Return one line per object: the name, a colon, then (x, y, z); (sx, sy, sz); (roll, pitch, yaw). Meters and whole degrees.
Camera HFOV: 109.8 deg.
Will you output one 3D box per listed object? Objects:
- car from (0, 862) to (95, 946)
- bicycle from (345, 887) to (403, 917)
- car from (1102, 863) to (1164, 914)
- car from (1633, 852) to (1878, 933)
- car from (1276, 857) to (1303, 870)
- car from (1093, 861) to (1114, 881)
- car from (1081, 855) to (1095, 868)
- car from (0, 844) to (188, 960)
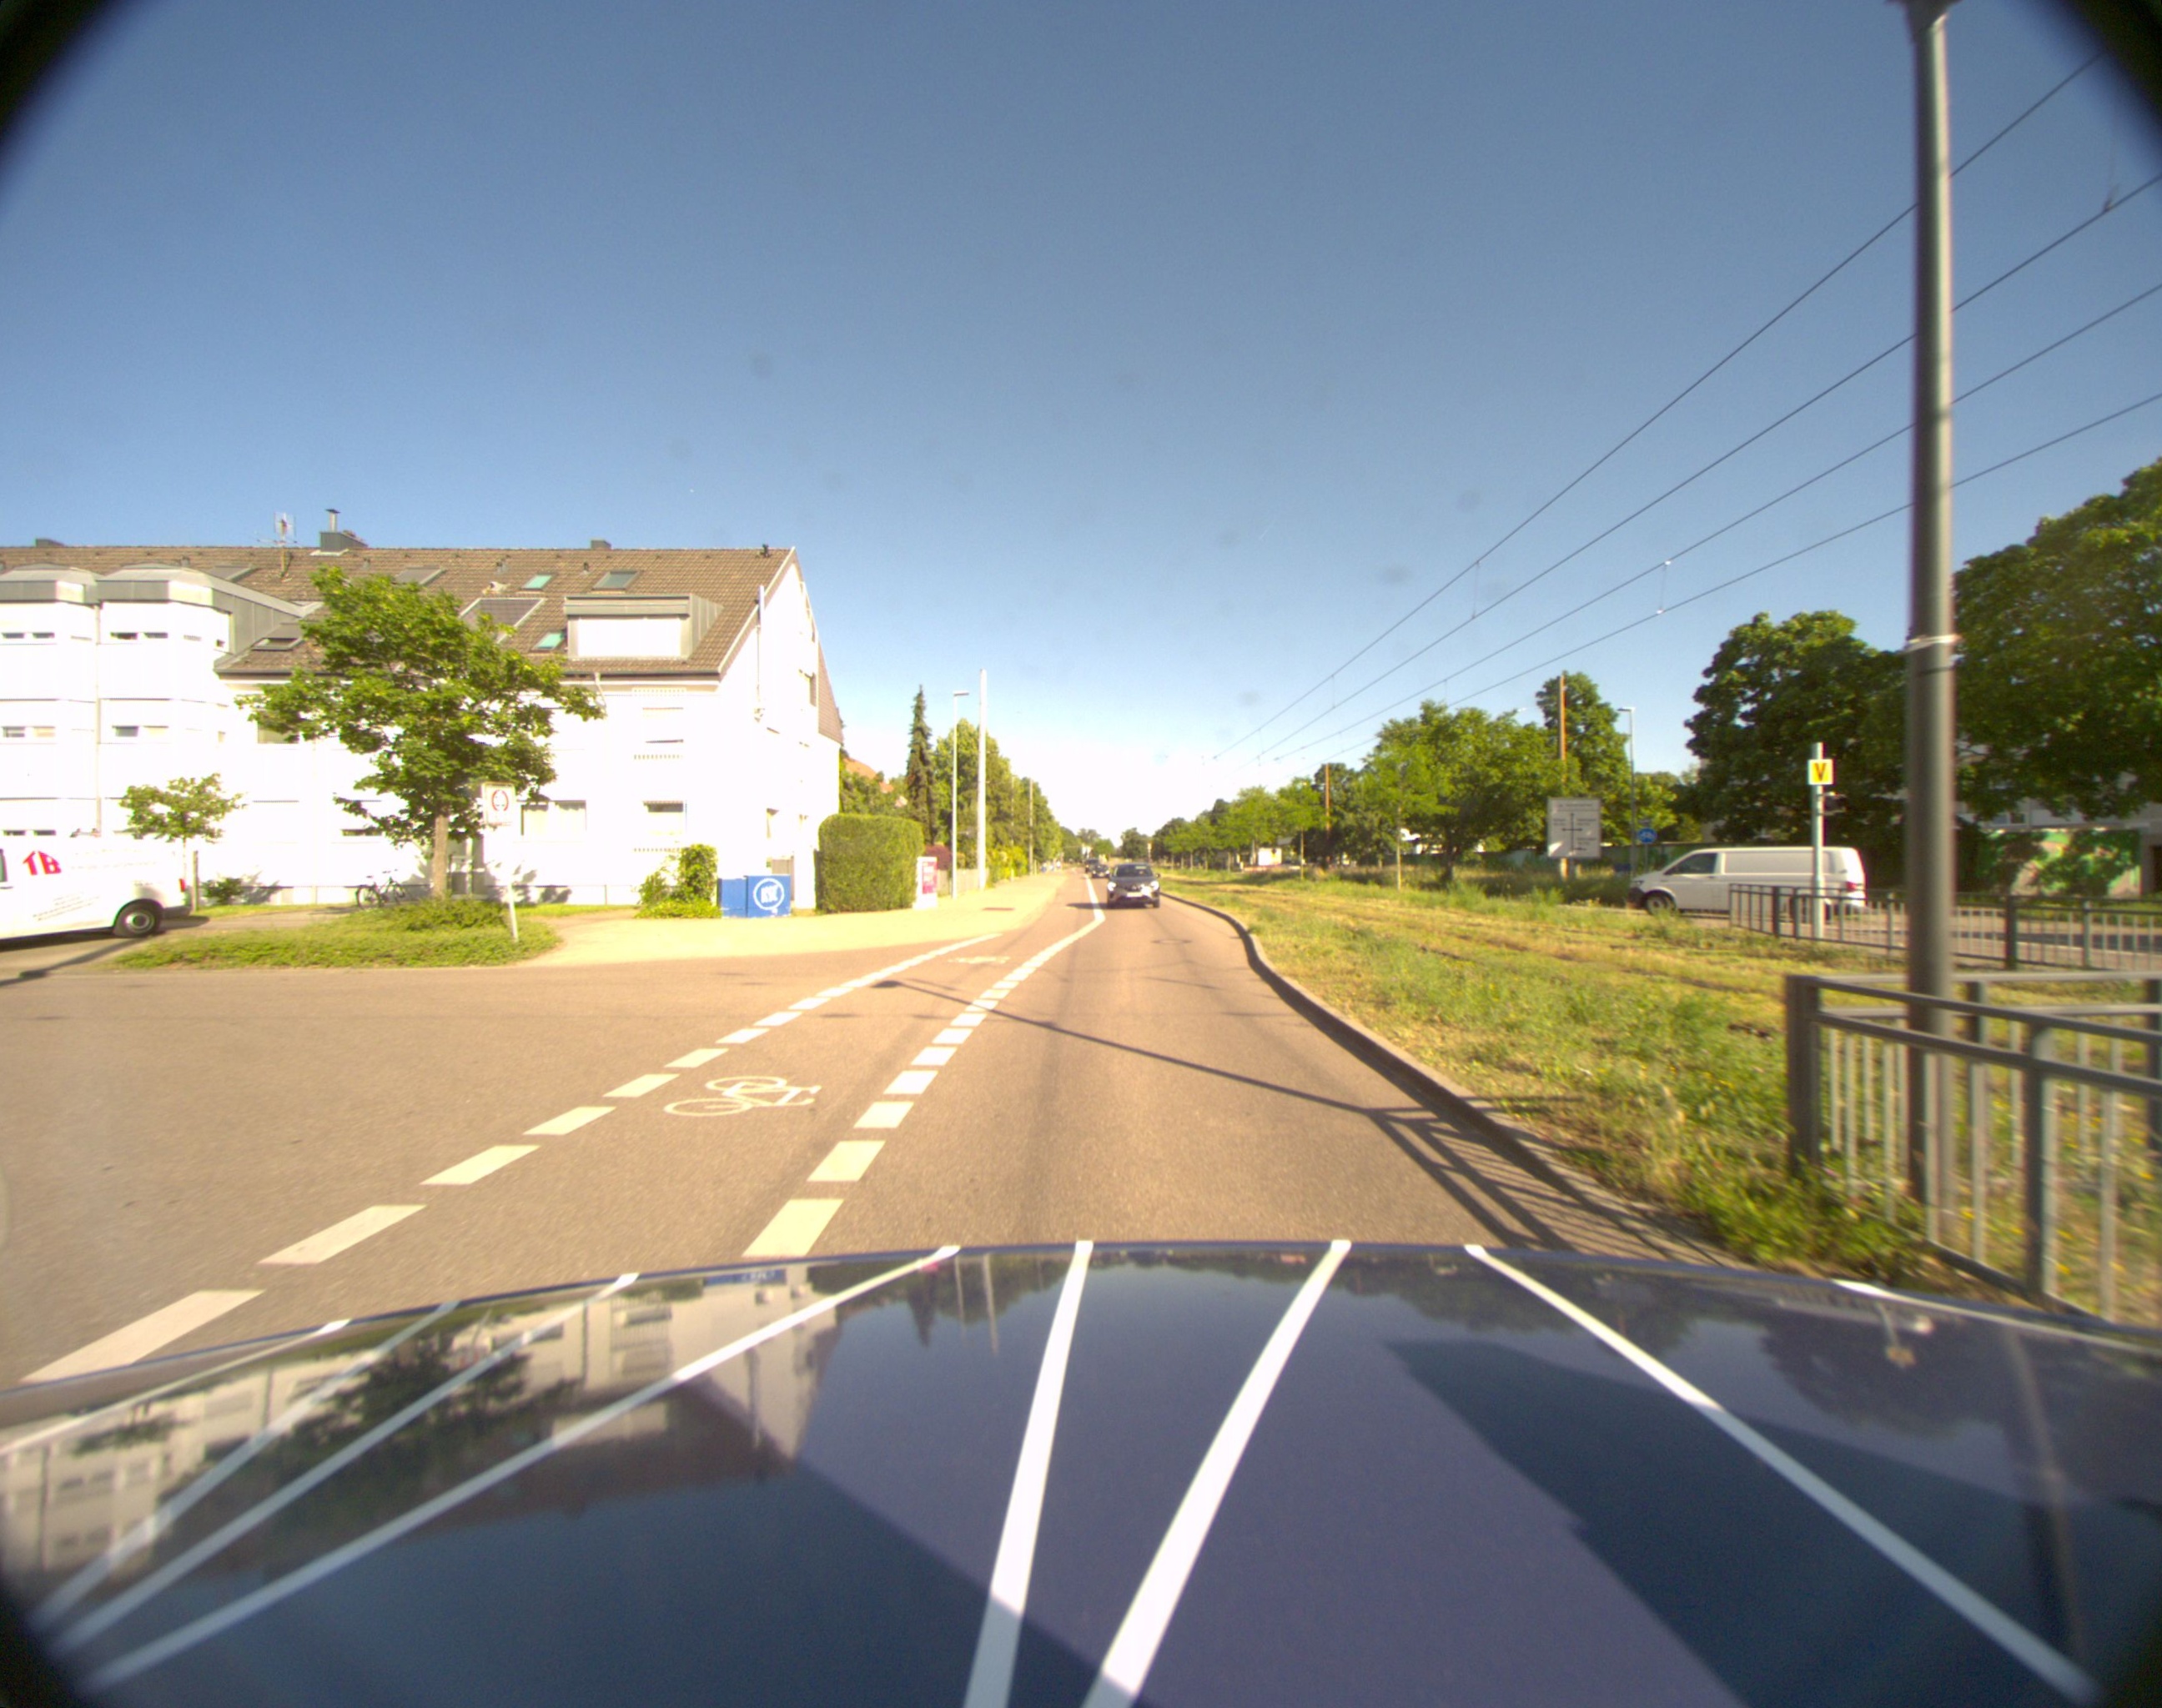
car: (-21.847, 1.002, 13.908); (1.696, 1.583, 4.547); (0, 1, -2)
bicycle: (-17.829, 1.198, 19.196); (0.308, 0.674, 1.420); (-2, 0, -9)
car: (1.785, 1.174, 27.220); (1.867, 1.614, 4.000); (-1, 0, -1)
car: (17.876, 0.929, 20.353); (1.907, 1.903, 4.689); (0, 0, -40)
car: (30.180, 1.387, 109.903); (1.893, 1.899, 4.821); (-1, -1, 40)
car: (2.224, 1.711, 76.607); (1.998, 1.823, 4.000); (-2, 0, 1)
car: (1.040, 1.068, 111.819); (1.998, 1.823, 4.000); (-2, 0, 1)
car: (-19.110, 0.814, 13.133); (1.834, 1.938, 4.646); (-1, 0, 0)
